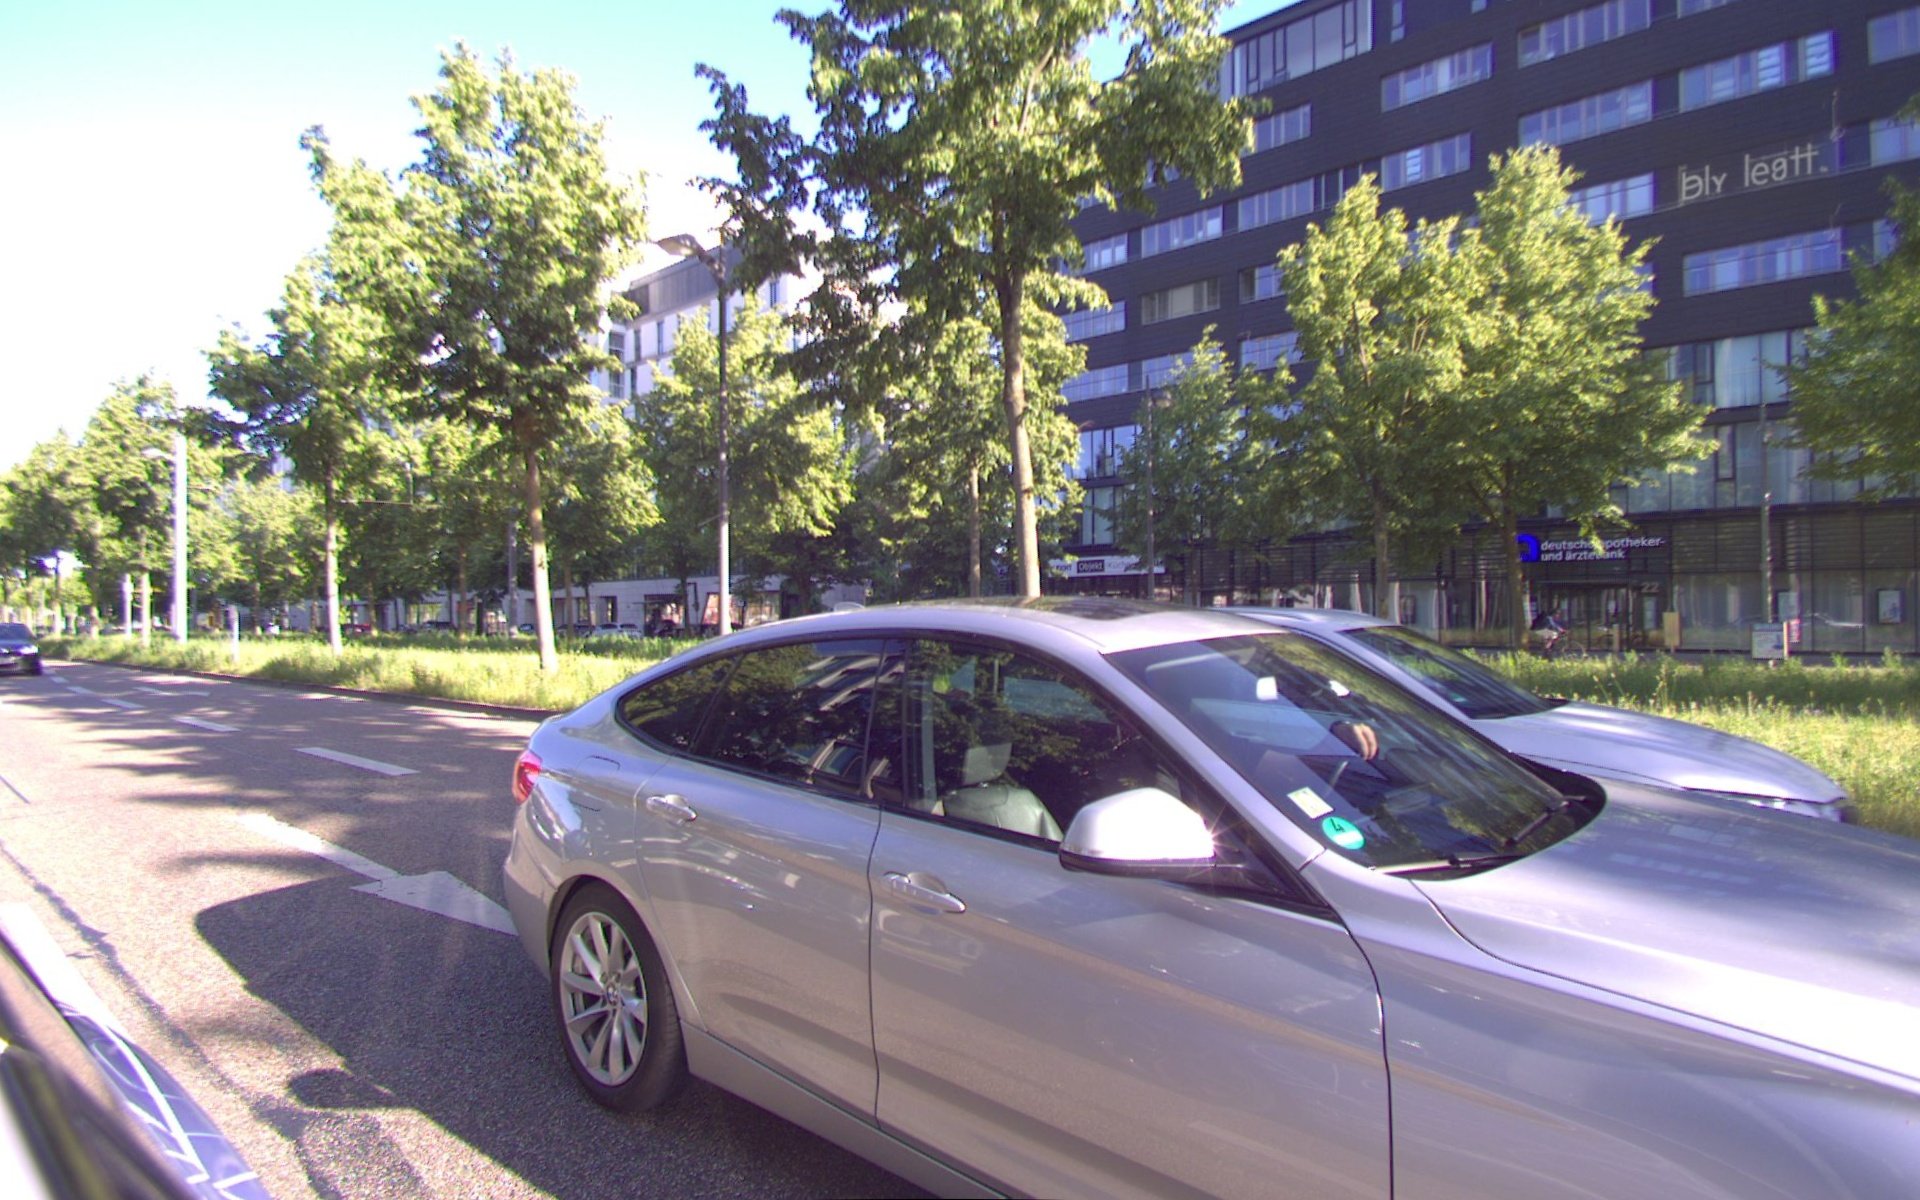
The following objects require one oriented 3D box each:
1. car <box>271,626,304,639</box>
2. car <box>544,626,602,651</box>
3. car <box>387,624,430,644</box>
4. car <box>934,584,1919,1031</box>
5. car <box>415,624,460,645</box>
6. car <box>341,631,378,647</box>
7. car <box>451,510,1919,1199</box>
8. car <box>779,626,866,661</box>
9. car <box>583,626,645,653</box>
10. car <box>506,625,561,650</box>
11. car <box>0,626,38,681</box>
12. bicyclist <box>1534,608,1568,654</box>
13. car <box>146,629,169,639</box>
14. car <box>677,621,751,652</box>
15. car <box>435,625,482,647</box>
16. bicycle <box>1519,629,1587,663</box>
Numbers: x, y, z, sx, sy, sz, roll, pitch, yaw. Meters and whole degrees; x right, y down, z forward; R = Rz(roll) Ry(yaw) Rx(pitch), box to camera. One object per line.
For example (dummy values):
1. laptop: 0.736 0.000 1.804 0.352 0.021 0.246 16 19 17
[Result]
1. car: -72.513 3.516 109.080 3.998 1.406 1.972 -2 -2 42
2. car: -25.685 2.533 67.068 4.182 1.609 1.859 -2 -1 41
3. car: -46.570 2.864 85.392 4.182 1.609 1.859 -2 -1 41
4. car: 2.139 0.723 5.378 4.566 1.458 1.780 -1 -1 41
5. car: -42.115 2.793 81.495 4.182 1.609 1.859 -2 -1 41
6. car: -54.898 3.542 92.456 4.001 1.406 1.971 -2 -2 44
7. car: 0.598 0.683 2.608 4.558 1.495 1.800 -1 -1 40
8. car: -6.753 2.081 49.399 4.182 1.609 1.926 -2 -1 41
9. car: -21.643 2.474 63.229 4.182 1.609 1.859 -2 -1 41
10. car: -29.713 2.599 70.481 4.182 1.609 1.859 -2 -1 41
11. car: -27.864 1.514 28.908 3.998 1.502 1.837 -1 -1 41
12. bicyclist: 18.471 0.961 31.648 0.820 1.435 0.472 -2 -2 41
13. car: -114.604 4.838 144.517 4.001 1.406 1.971 -2 -2 44
14. car: -13.599 1.996 55.856 4.182 1.609 1.926 -2 -1 41
15. car: -38.654 2.747 77.988 4.182 1.609 1.859 -2 -1 41
16. bicycle: 18.508 1.418 31.614 1.755 1.043 0.472 -1 -1 41
